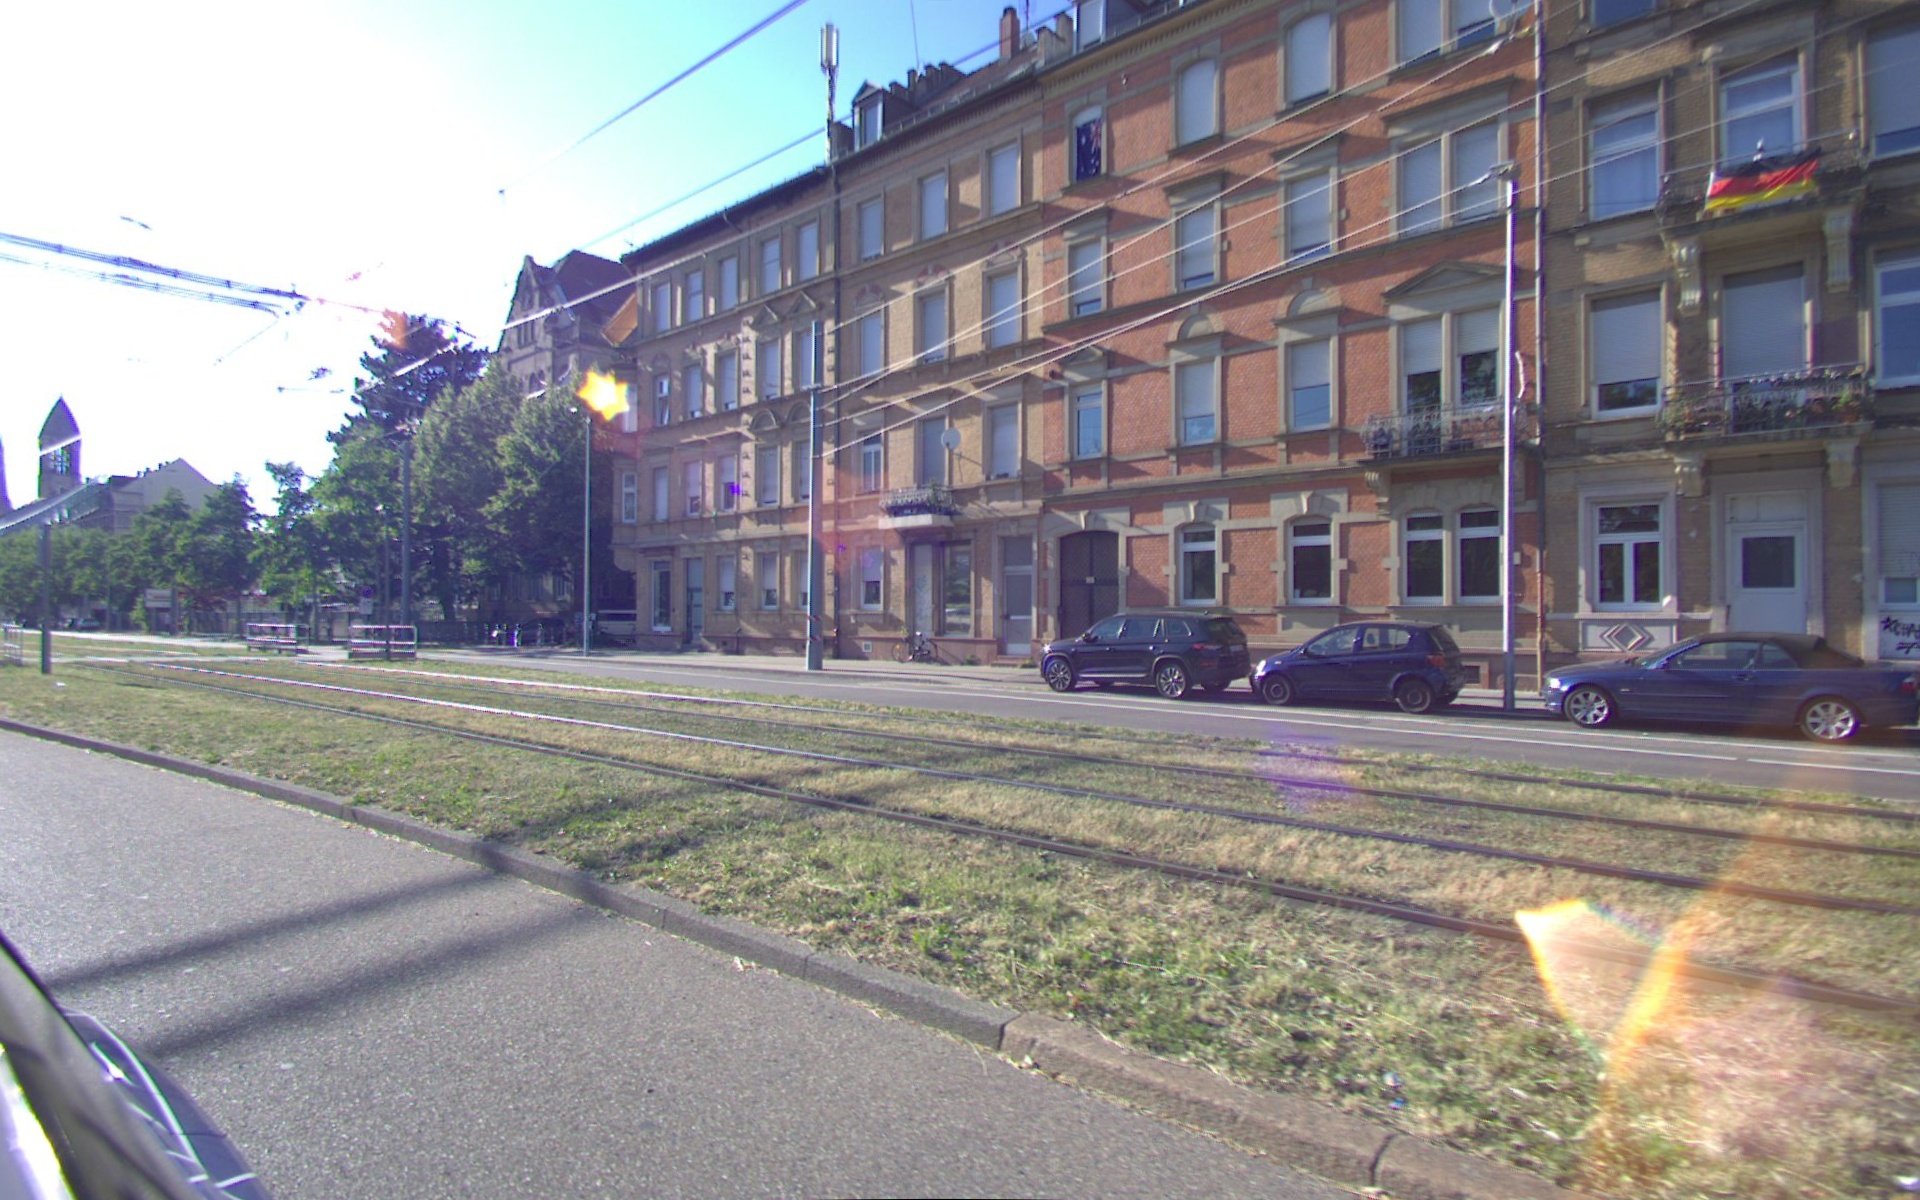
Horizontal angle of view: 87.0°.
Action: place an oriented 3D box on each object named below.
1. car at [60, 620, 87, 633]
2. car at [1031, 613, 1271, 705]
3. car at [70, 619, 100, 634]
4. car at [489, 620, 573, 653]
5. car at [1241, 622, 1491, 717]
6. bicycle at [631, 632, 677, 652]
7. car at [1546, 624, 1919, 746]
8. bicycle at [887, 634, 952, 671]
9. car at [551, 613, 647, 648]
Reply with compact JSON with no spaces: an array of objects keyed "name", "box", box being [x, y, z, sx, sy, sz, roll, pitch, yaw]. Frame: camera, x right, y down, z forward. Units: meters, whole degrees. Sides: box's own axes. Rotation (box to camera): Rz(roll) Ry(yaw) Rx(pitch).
[{"name":"car","box":[-102.600,3.086,117.156,3.997,1.522,1.776,-1,-3,40]},{"name":"car","box":[3.812,1.122,20.816,4.632,1.655,1.774,-1,0,44]},{"name":"car","box":[-94.961,2.891,109.812,3.997,1.522,1.776,-1,-3,40]},{"name":"car","box":[-22.377,1.898,52.820,3.931,1.521,1.806,-1,1,-27]},{"name":"car","box":[7.100,1.148,17.886,3.764,1.457,1.642,-1,0,42]},{"name":"bicycle","box":[-14.506,1.975,48.008,2.067,0.916,0.707,-1,0,19]},{"name":"car","box":[10.881,1.087,14.346,4.195,1.457,1.642,-1,0,42]},{"name":"bicycle","box":[-1.204,1.516,29.576,2.009,1.011,0.584,0,1,40]},{"name":"car","box":[-20.458,1.692,57.387,4.983,1.838,2.029,0,0,-23]}]
